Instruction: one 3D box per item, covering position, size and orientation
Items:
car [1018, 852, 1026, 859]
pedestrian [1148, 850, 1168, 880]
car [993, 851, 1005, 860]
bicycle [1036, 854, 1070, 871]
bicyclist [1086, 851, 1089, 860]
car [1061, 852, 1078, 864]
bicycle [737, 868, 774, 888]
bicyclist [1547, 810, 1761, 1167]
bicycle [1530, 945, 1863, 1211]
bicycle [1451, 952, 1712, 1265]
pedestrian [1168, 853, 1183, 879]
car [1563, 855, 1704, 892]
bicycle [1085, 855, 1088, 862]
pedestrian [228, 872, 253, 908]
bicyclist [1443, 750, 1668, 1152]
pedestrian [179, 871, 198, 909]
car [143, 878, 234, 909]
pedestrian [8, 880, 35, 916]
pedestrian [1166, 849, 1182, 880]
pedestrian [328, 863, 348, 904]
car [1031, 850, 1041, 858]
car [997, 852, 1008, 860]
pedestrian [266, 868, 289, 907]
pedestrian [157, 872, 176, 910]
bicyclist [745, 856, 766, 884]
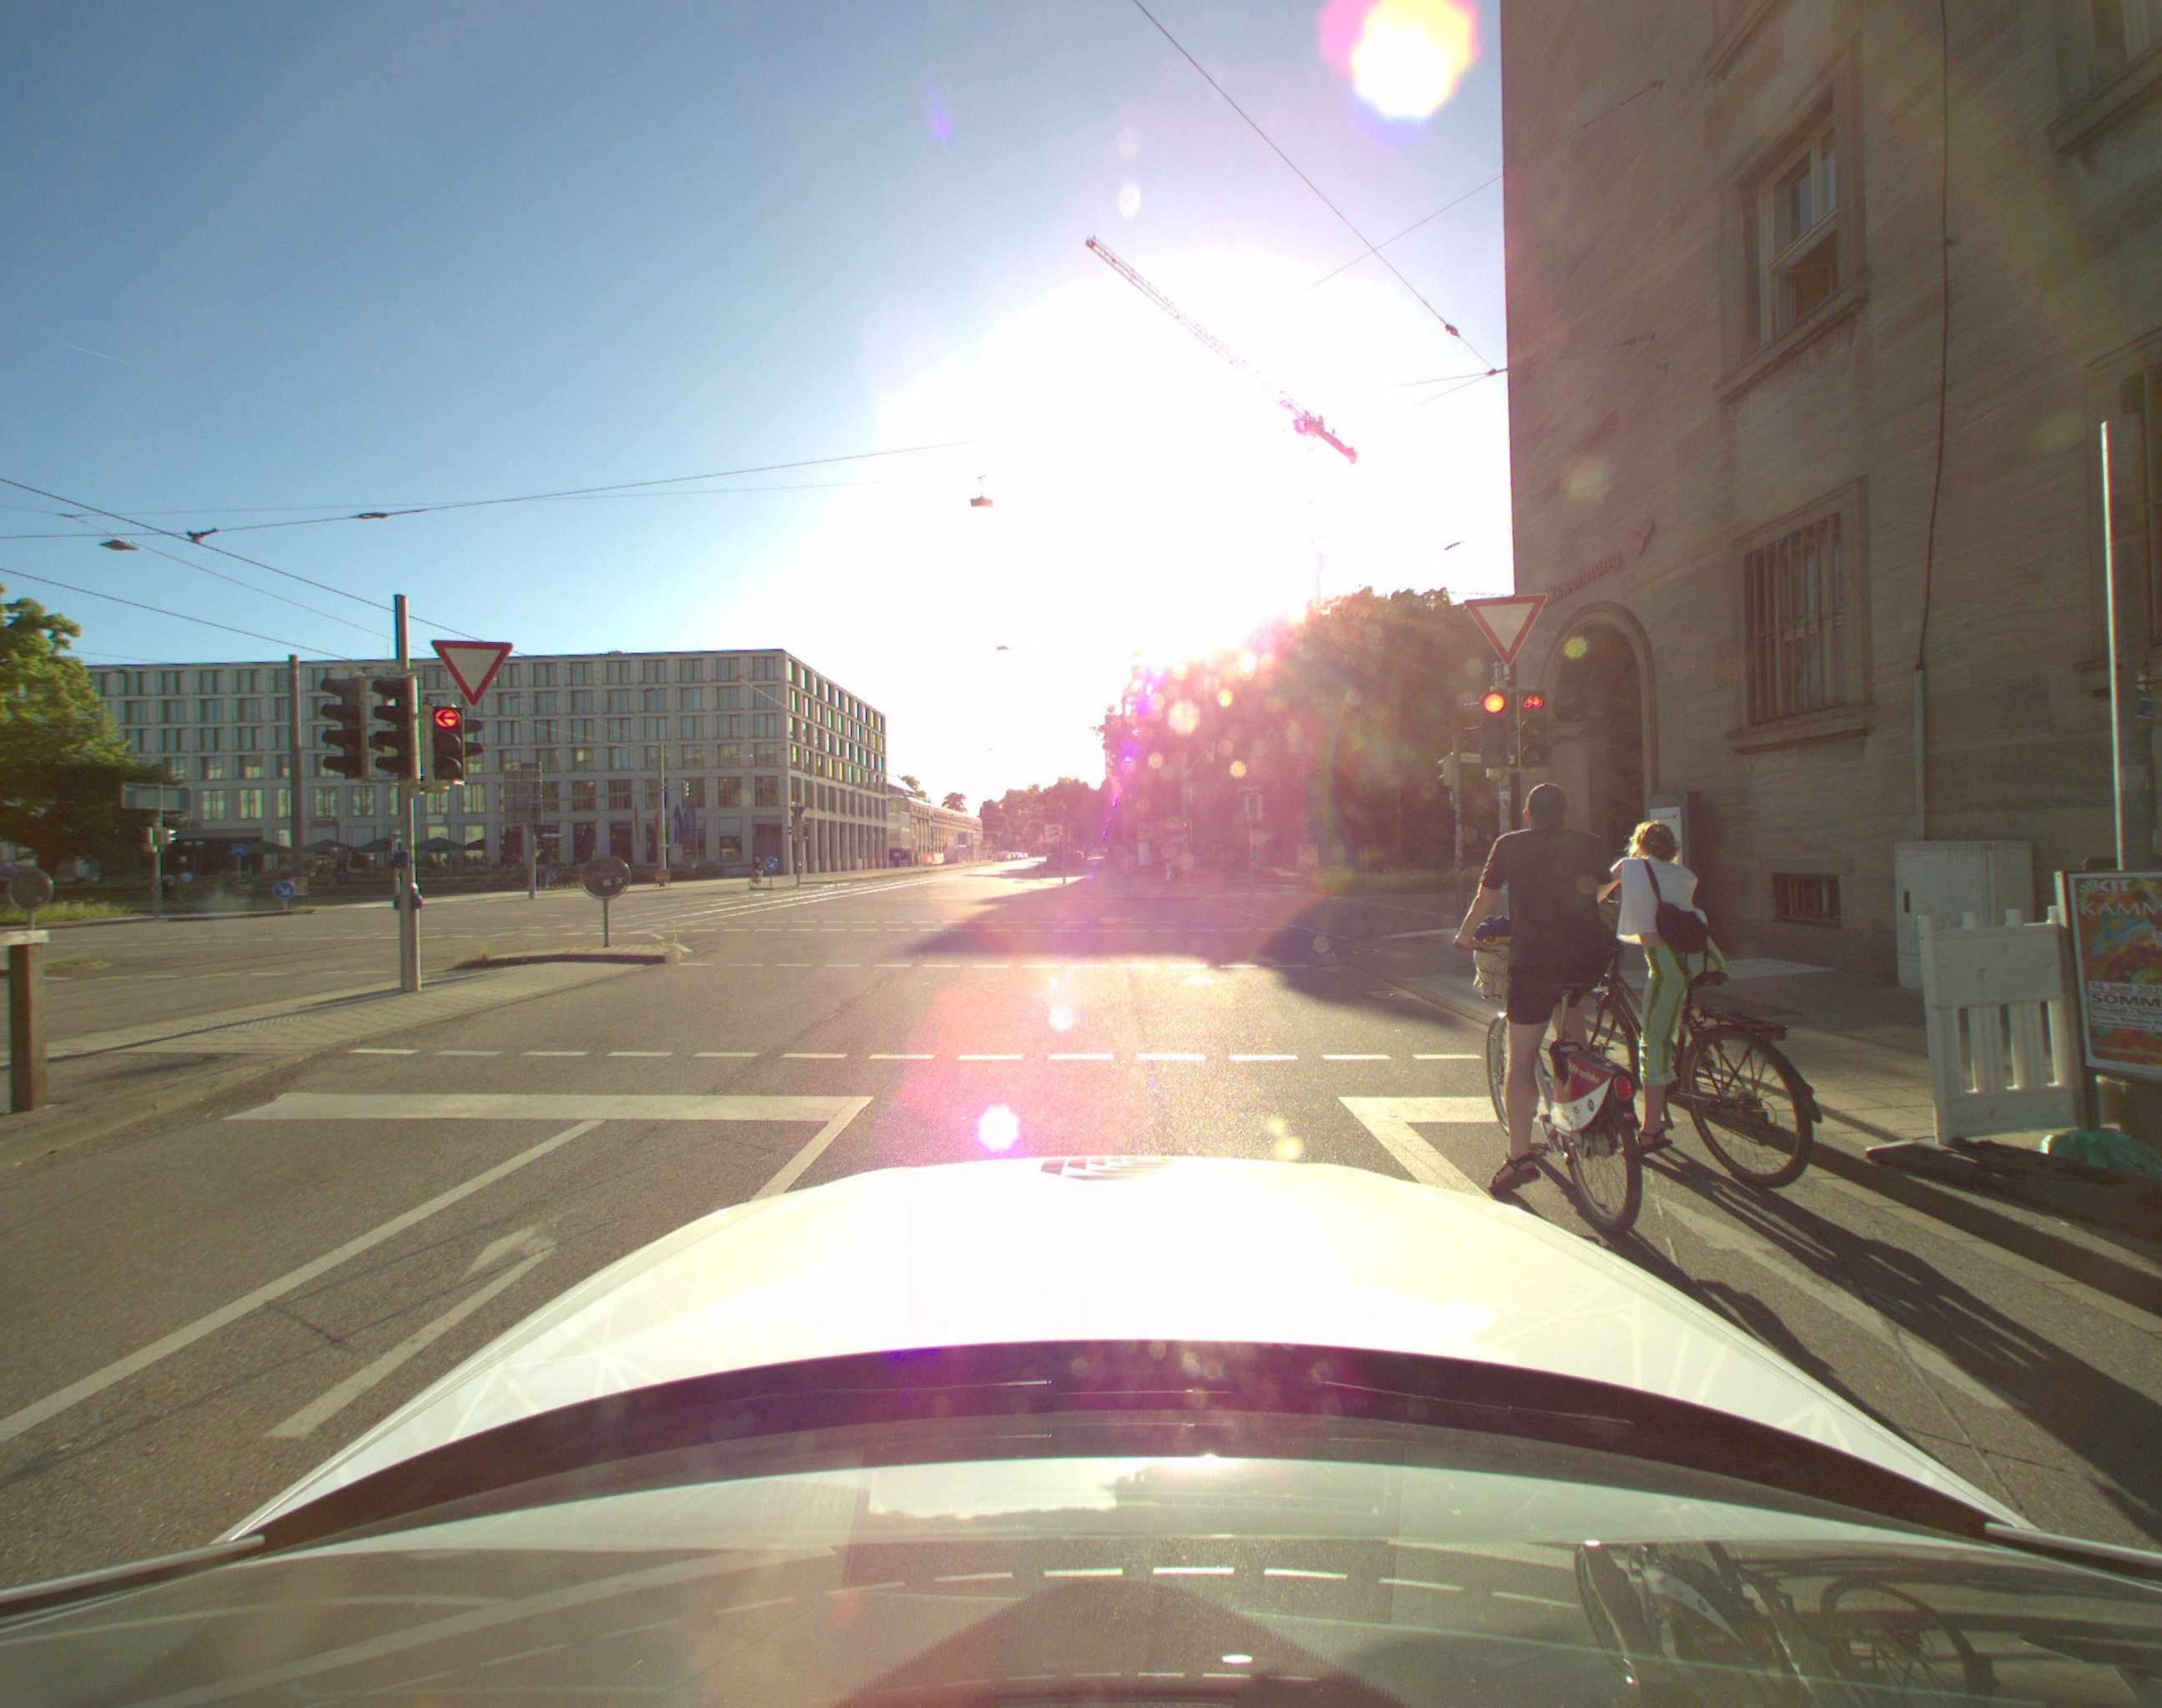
[{"bbox_3d":[-14.056,0.311,195.266,1.478,1.750,4.002,-2,0,2],"label":"car"},{"bbox_3d":[4.141,0.603,43.819,0.980,1.587,0.661,-2,-1,3],"label":"pedestrian"},{"bbox_3d":[-15.654,0.298,156.234,1.724,1.653,4.002,-2,0,2],"label":"car"},{"bbox_3d":[-2.331,0.722,67.375,2.728,1.367,0.633,-1,-1,12],"label":"bicycle"},{"bbox_3d":[0.775,0.181,98.602,0.316,1.127,0.291,-2,0,6],"label":"bicyclist"},{"bbox_3d":[-1.259,0.427,92.533,1.814,1.279,3.999,-2,0,0],"label":"car"},{"bbox_3d":[-19.320,1.411,48.428,0.872,1.121,3.015,-2,0,3],"label":"bicycle"},{"bbox_3d":[2.957,0.639,4.286,0.519,1.679,0.860,-2,0,5],"label":"bicyclist"},{"bbox_3d":[3.091,1.044,4.360,0.424,0.876,1.953,-2,0,5],"label":"bicycle"},{"bbox_3d":[2.287,1.054,3.981,0.387,0.905,1.956,-2,0,10],"label":"bicycle"},{"bbox_3d":[5.070,0.636,43.680,0.749,1.332,0.743,-2,0,3],"label":"pedestrian"},{"bbox_3d":[22.346,0.758,33.068,4.422,1.329,1.778,-2,0,4],"label":"car"},{"bbox_3d":[0.707,0.514,98.723,0.323,0.868,1.484,-2,0,2],"label":"bicycle"},{"bbox_3d":[-47.987,2.028,46.498,0.528,2.013,0.800,-2,0,-5],"label":"pedestrian"},{"bbox_3d":[2.145,0.411,3.771,0.666,1.678,0.658,-2,0,9],"label":"bicyclist"},{"bbox_3d":[-49.060,1.980,44.778,0.490,2.013,0.493,-2,0,14],"label":"pedestrian"},{"bbox_3d":[-46.921,2.059,42.844,3.172,1.438,1.472,-2,0,2],"label":"car"},{"bbox_3d":[-57.405,2.352,44.135,0.557,1.903,0.684,-2,0,10],"label":"pedestrian"},{"bbox_3d":[5.085,0.584,44.436,0.792,1.639,0.534,-2,0,4],"label":"pedestrian"},{"bbox_3d":[-42.333,1.692,46.393,0.568,2.280,0.533,-2,0,-5],"label":"pedestrian"},{"bbox_3d":[-11.234,0.084,202.681,1.986,2.014,4.001,0,-1,2],"label":"car"},{"bbox_3d":[-15.462,0.387,160.617,1.724,1.653,4.002,-2,0,2],"label":"car"},{"bbox_3d":[-44.044,1.831,44.650,0.648,2.069,0.649,-2,-2,-5],"label":"pedestrian"},{"bbox_3d":[-49.196,1.973,43.808,0.490,2.013,0.493,-2,0,14],"label":"pedestrian"},{"bbox_3d":[-19.335,0.938,48.379,0.872,1.641,0.822,-2,0,3],"label":"bicyclist"}]
